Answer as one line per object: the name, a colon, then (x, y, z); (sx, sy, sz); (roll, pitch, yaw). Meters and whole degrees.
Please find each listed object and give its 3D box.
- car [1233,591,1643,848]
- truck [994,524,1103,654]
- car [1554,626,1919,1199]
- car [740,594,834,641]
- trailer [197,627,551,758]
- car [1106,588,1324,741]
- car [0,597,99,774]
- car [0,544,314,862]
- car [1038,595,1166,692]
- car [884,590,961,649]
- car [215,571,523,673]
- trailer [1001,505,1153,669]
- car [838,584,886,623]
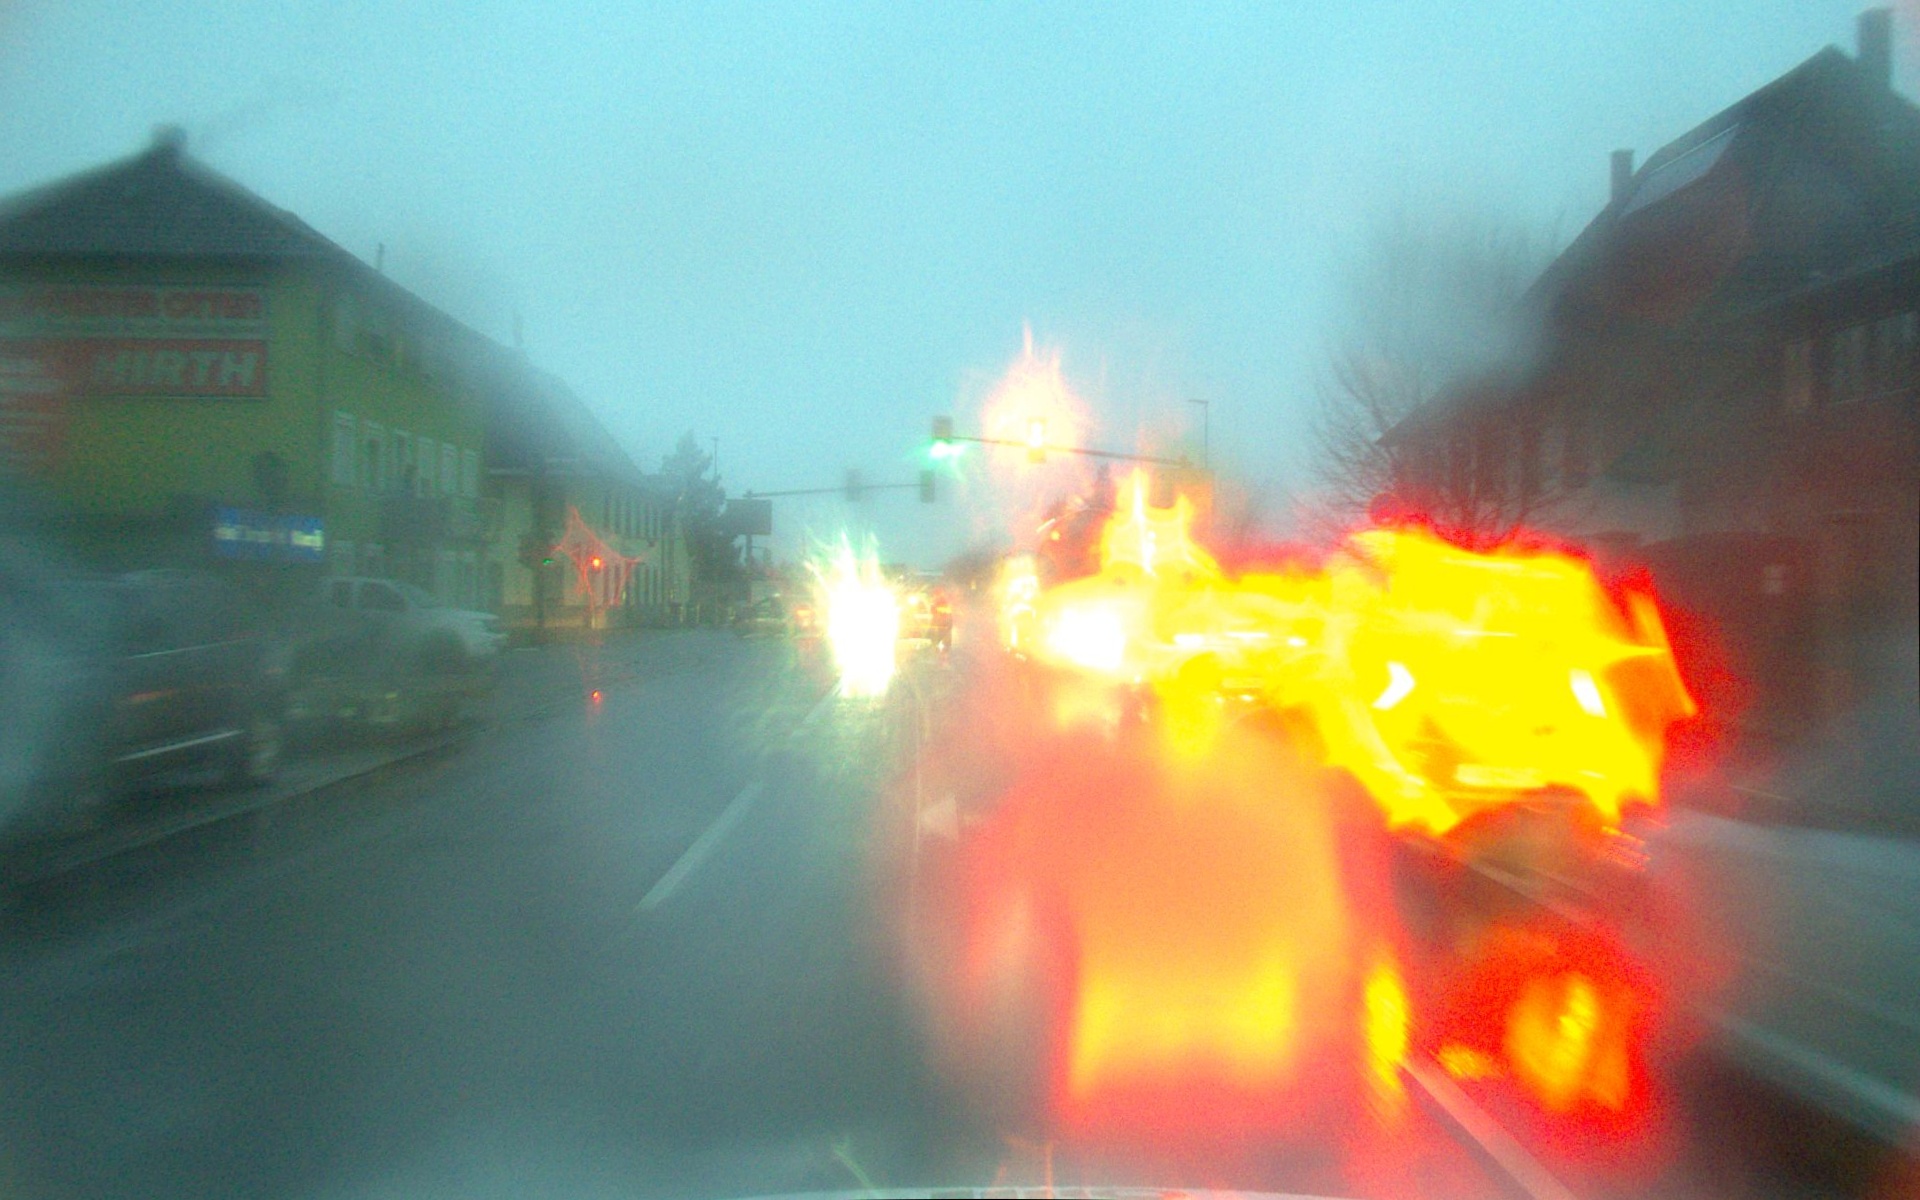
car: (3.239, 0.714, 12.109); (1.667, 1.497, 4.271); (1, 0, -1)
truck: (2.328, -0.291, 45.312); (2.412, 3.286, 6.270); (1, 0, -2)
car: (3.115, 0.806, 4.175); (1.620, 1.359, 4.271); (1, 0, -1)
car: (-6.022, 0.589, 57.450); (3.155, 1.534, 1.547); (1, 0, -7)
trailer: (-6.337, 0.928, 18.824); (1.953, 1.057, 6.102); (-1, 1, -1)
car: (2.931, 0.686, 19.985); (1.799, 1.595, 4.502); (2, 0, -2)
car: (-9.914, 0.678, 14.475); (3.814, 1.453, 1.719); (1, 0, -1)
car: (-6.480, 0.590, 11.930); (1.931, 1.862, 4.511); (-1, 1, -1)
car: (2.308, 0.666, 27.769); (1.629, 1.464, 4.380); (1, 0, -2)
car: (-1.156, 0.526, 48.191); (2.007, 1.600, 4.699); (-1, 0, -4)
car: (-11.078, 0.402, 31.281); (5.082, 1.822, 2.000); (0, 0, 0)
trailer: (2.524, -0.283, 39.220); (2.438, 3.297, 10.864); (1, 0, -2)
car: (-4.748, 0.157, 80.747); (1.952, 1.777, 4.001); (-1, 0, 2)
